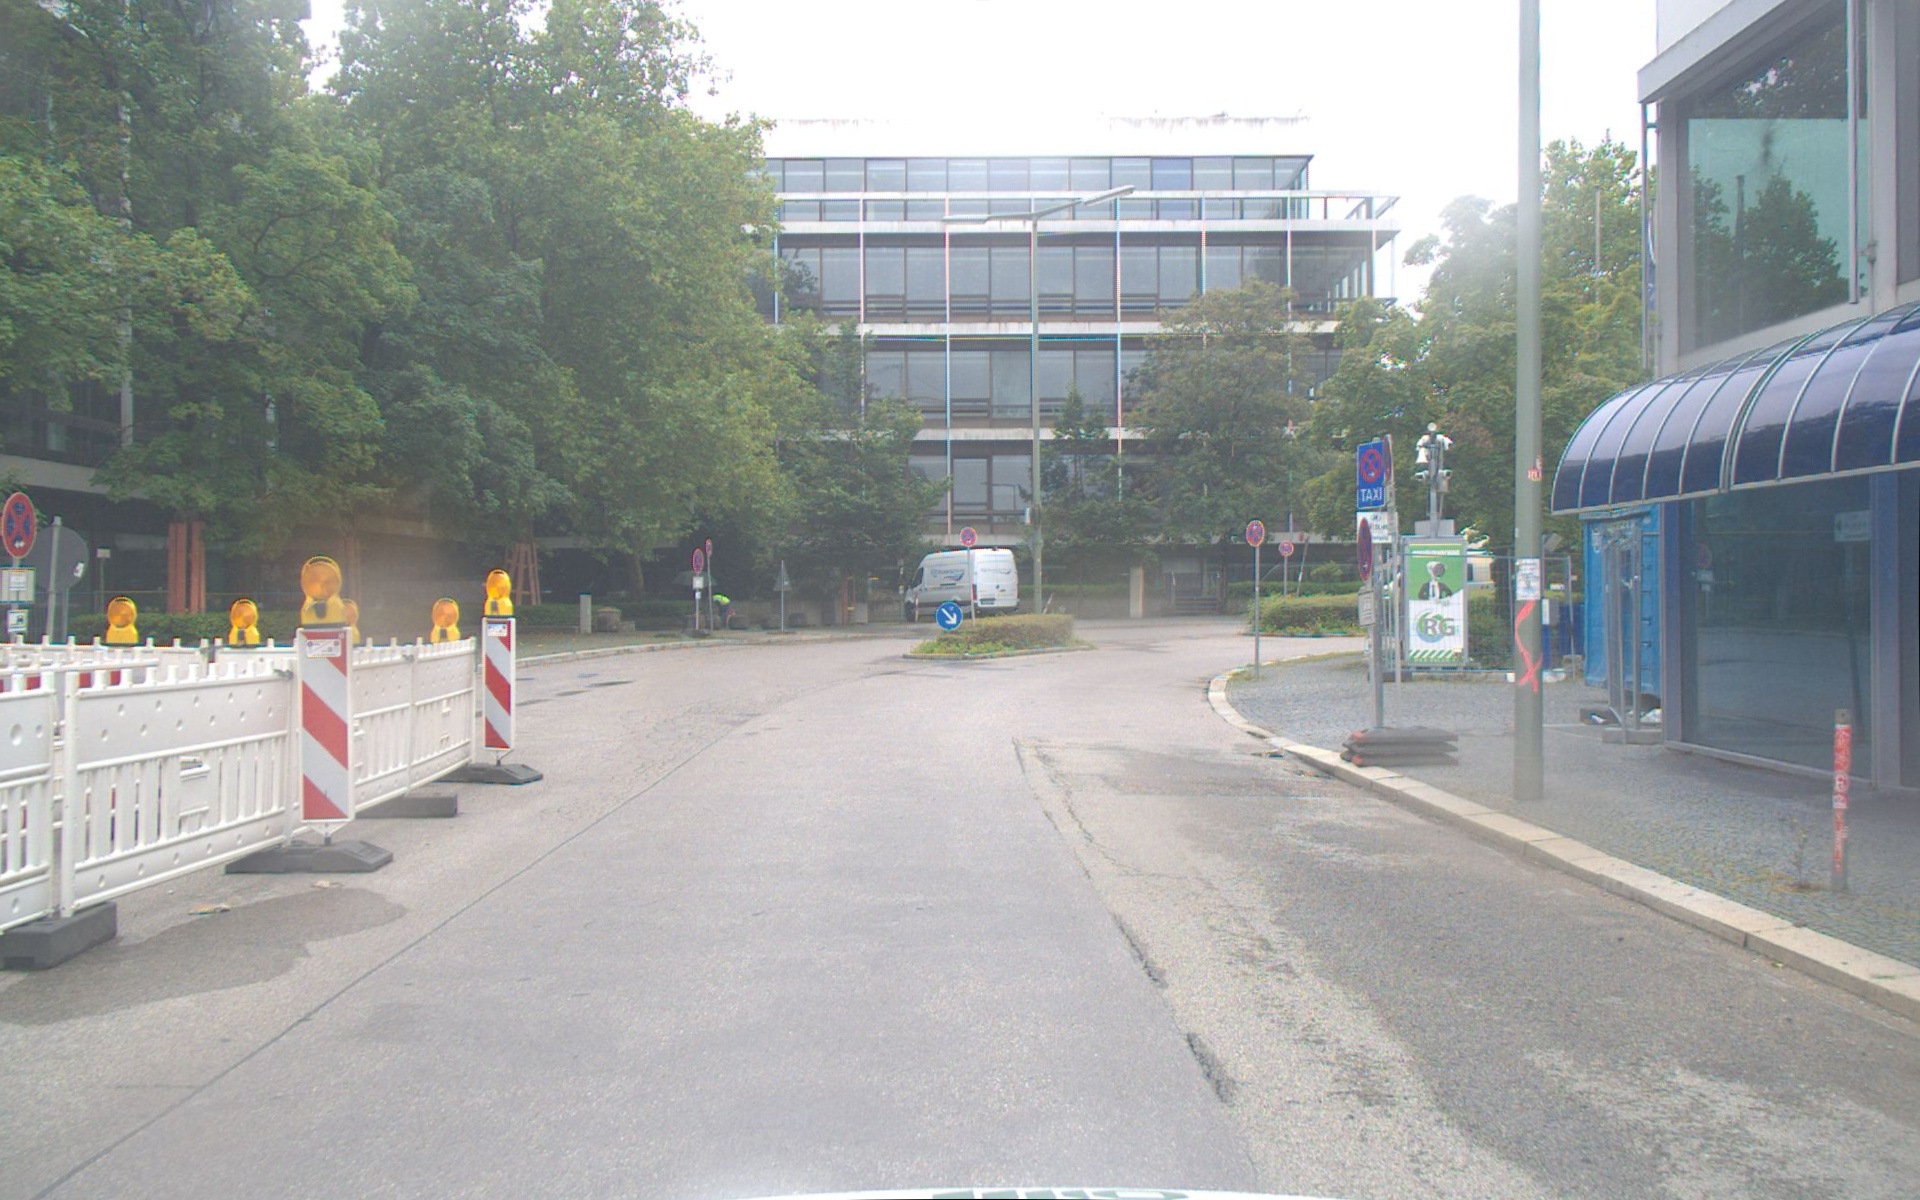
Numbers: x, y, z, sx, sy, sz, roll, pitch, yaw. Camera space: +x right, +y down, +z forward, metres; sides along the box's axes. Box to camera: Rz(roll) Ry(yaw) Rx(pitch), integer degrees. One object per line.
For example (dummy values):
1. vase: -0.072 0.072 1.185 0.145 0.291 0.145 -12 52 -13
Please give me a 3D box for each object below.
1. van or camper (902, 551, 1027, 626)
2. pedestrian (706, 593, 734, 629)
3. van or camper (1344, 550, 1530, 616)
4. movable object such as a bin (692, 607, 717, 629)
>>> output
1. van or camper: 0.074 -0.366 63.001 2.129 2.626 6.483 0 -1 -26
2. pedestrian: -8.808 0.410 60.706 0.907 1.300 0.542 0 0 1
3. van or camper: 17.392 -0.631 60.307 6.291 2.321 2.246 0 0 -15
4. movable object such as a bin: -9.364 0.662 60.661 0.817 0.766 0.572 0 0 2
